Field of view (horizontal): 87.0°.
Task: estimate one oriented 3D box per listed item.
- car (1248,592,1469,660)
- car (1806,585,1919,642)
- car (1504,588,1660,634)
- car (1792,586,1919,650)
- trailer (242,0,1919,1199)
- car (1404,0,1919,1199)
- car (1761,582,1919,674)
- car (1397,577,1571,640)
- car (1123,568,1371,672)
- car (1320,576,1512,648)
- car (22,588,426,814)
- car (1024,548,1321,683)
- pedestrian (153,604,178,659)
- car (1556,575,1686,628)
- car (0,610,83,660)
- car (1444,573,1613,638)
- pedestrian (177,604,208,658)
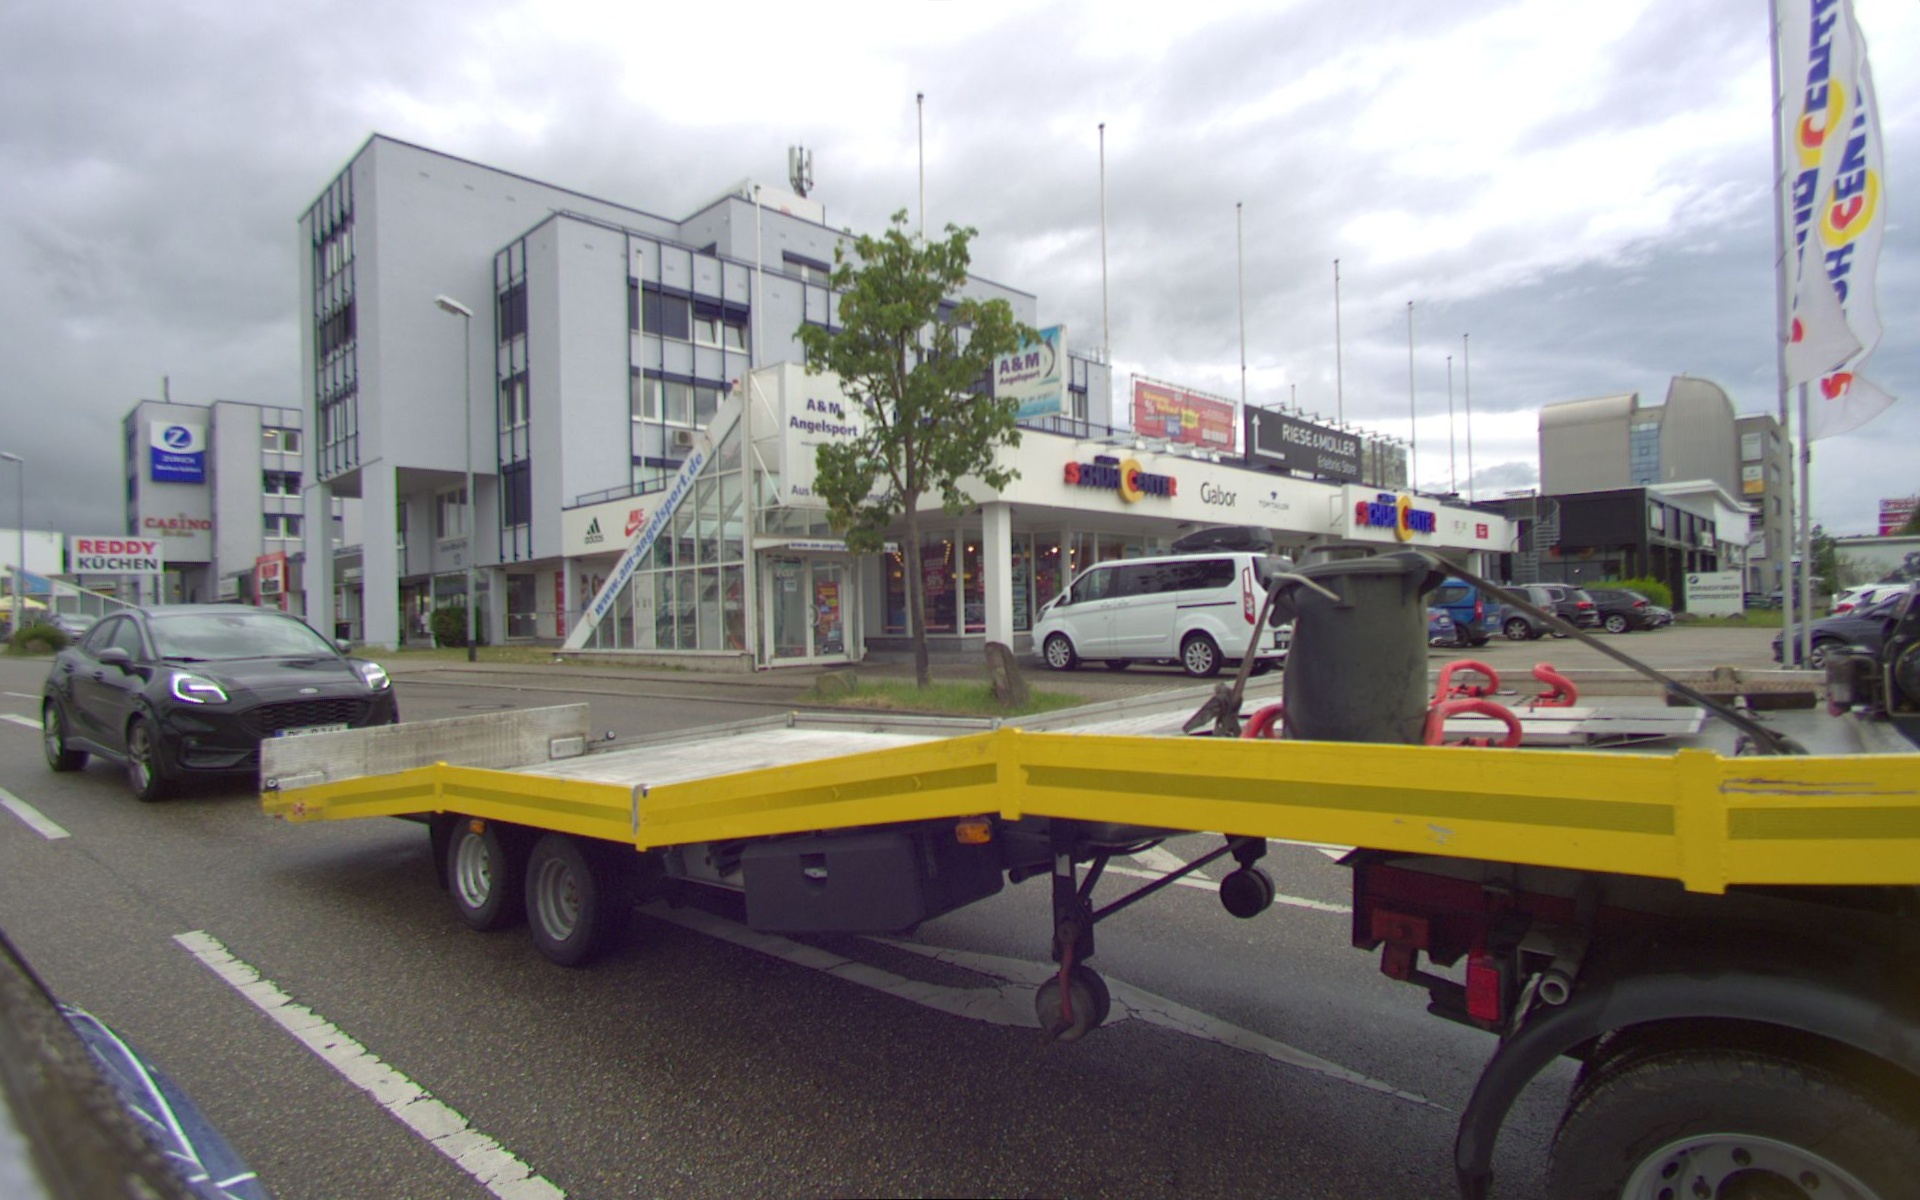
[{"bbox_3d":[9.067,0.566,23.267,4.377,1.404,1.797,-1,-1,44],"label":"car"},{"bbox_3d":[24.072,0.329,25.479,4.128,1.404,1.797,-1,-1,44],"label":"car"},{"bbox_3d":[21.863,0.379,35.658,4.377,1.509,1.869,-1,-1,44],"label":"car"},{"bbox_3d":[21.634,0.394,22.953,4.128,1.404,1.872,-1,-1,44],"label":"car"},{"bbox_3d":[-0.397,0.164,4.267,7.963,2.492,2.280,0,0,39],"label":"trailer"},{"bbox_3d":[3.418,0.089,1.078,5.010,2.492,2.217,0,0,39],"label":"car"},{"bbox_3d":[15.409,0.433,15.953,1.795,1.404,4.132,0,-1,-42],"label":"car"},{"bbox_3d":[15.926,0.271,30.902,4.377,1.777,1.869,-1,-1,44],"label":"car"},{"bbox_3d":[5.584,0.377,20.079,4.377,1.834,1.869,-1,-1,44],"label":"car"},{"bbox_3d":[12.291,0.323,27.457,4.377,1.777,1.869,-1,-1,44],"label":"car"},{"bbox_3d":[-6.634,0.728,8.993,3.993,1.552,1.792,-1,0,37],"label":"car"},{"bbox_3d":[3.543,0.264,17.619,1.970,2.029,4.791,1,-1,-44],"label":"car"},{"bbox_3d":[-25.237,1.001,32.160,0.519,1.720,0.543,-1,0,43],"label":"pedestrian"},{"bbox_3d":[26.513,0.066,40.673,1.882,2.029,4.004,0,-1,-43],"label":"car"},{"bbox_3d":[-32.766,1.249,36.004,3.998,1.622,1.799,-3,-1,41],"label":"car"},{"bbox_3d":[18.119,0.185,32.391,4.377,1.920,1.869,-1,-1,44],"label":"car"},{"bbox_3d":[-25.353,1.025,33.441,0.634,1.756,0.590,-1,0,-17],"label":"pedestrian"}]
